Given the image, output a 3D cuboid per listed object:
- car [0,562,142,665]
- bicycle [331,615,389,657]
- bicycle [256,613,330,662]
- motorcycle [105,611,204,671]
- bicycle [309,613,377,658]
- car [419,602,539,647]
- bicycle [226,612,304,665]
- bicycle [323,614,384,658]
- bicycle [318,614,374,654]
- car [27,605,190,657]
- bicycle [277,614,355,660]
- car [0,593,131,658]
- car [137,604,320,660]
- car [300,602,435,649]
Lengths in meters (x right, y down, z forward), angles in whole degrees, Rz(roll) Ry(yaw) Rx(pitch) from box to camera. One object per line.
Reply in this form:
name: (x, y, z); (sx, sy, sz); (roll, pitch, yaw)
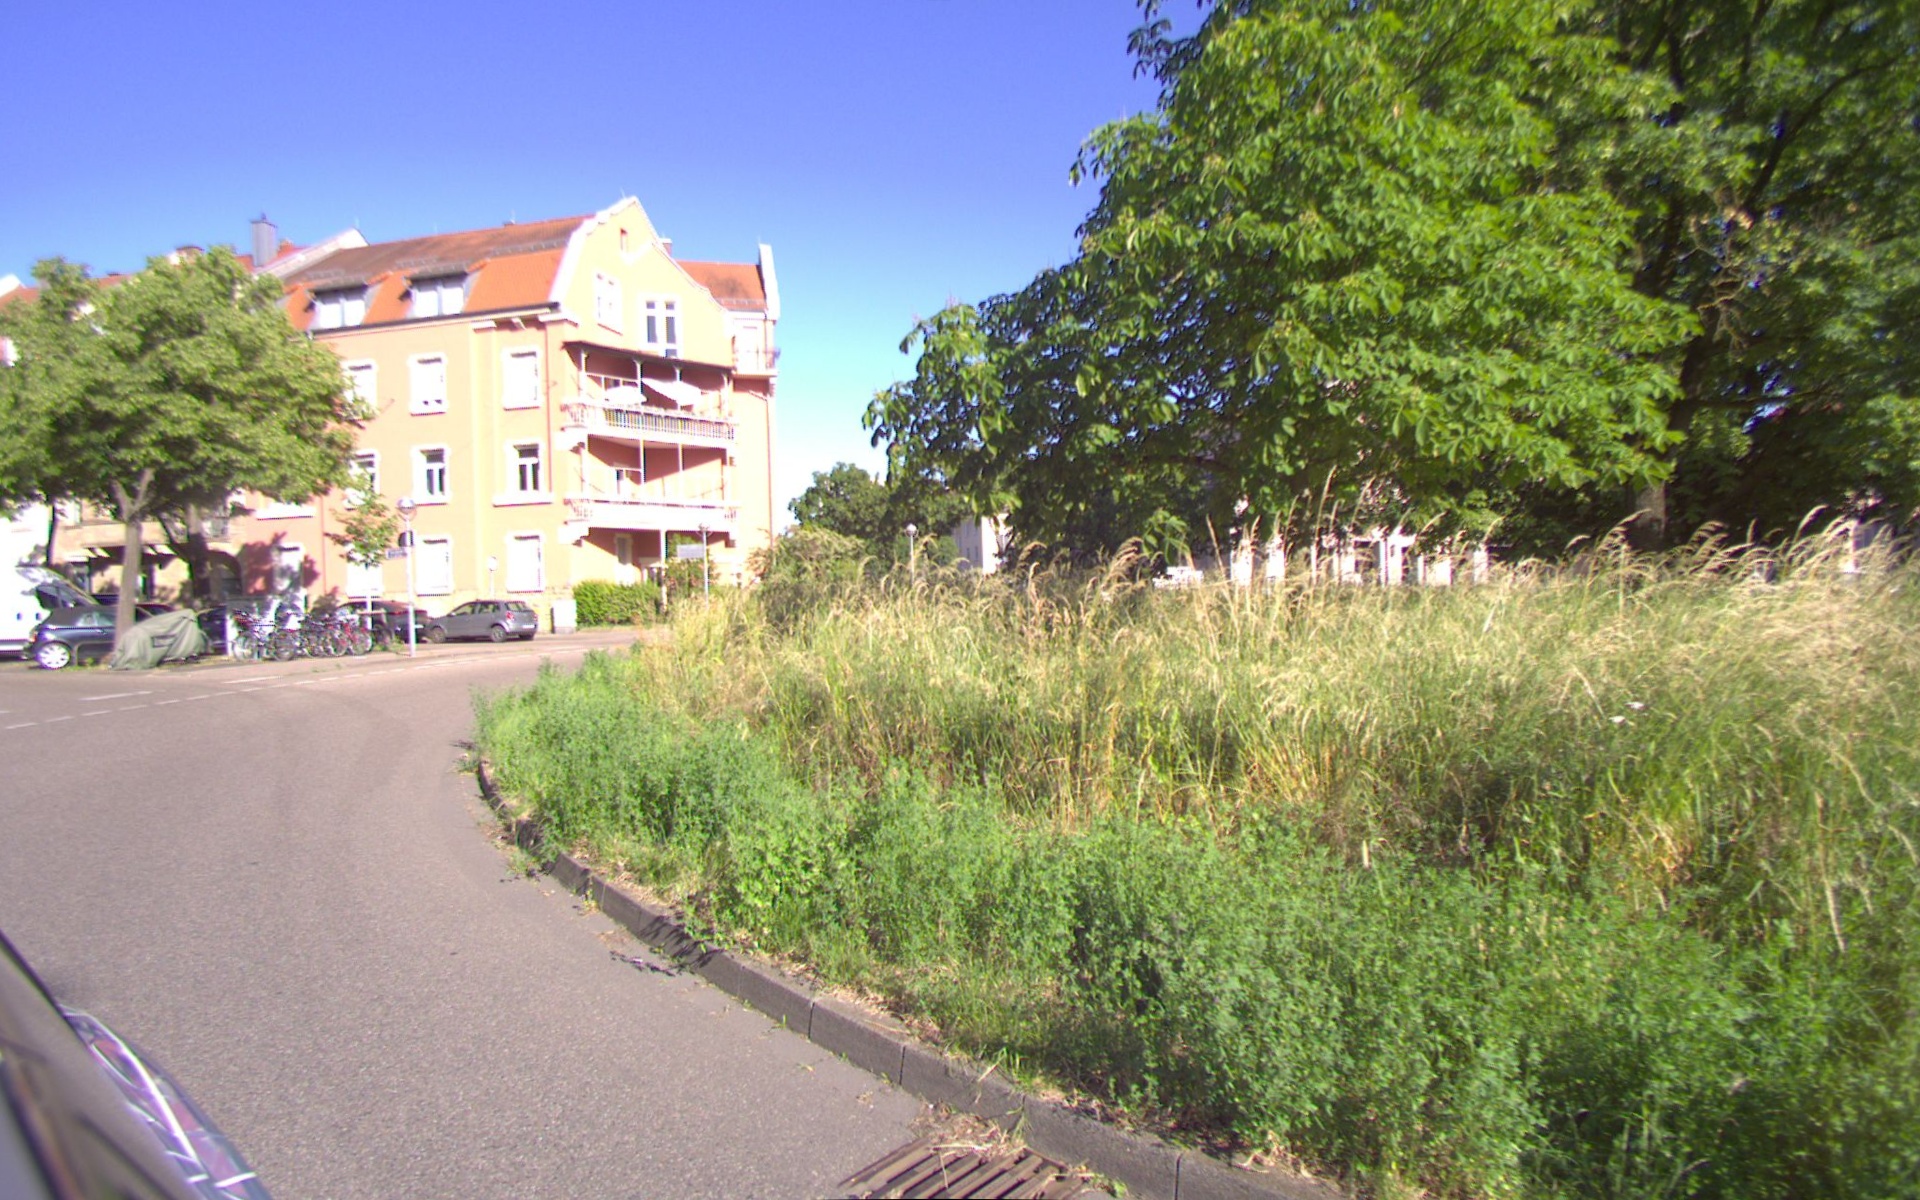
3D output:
car: (-25.513, 0.379, 26.452); (6.271, 2.620, 2.108); (0, -1, -35)
bicycle: (-16.045, 0.951, 27.043); (1.514, 1.094, 0.417); (-1, 1, 18)
bicycle: (-16.227, 0.904, 24.631); (1.587, 1.135, 0.586); (-1, 2, 16)
motorcycle: (-17.796, 0.890, 22.412); (0.534, 1.280, 1.701); (-1, -1, 19)
bicycle: (-15.819, 0.901, 25.932); (1.636, 1.110, 0.497); (-1, 2, 17)
car: (-16.617, 0.848, 35.001); (3.512, 1.457, 1.680); (-1, -1, 14)
bicycle: (-16.389, 0.892, 23.863); (1.664, 1.201, 0.536); (-1, 1, 16)
bicycle: (-15.894, 0.944, 26.521); (1.560, 1.097, 0.417); (-1, 2, 18)
bicycle: (-17.073, 0.941, 28.130); (1.514, 1.094, 0.417); (-1, 1, 18)
car: (-25.301, 0.893, 30.166); (1.680, 1.457, 3.352); (-2, -1, 28)
bicycle: (-16.114, 0.911, 25.337); (1.714, 1.097, 0.654); (0, 2, 16)
car: (-27.583, 0.758, 30.906); (1.688, 1.879, 3.336); (-2, -2, 43)
car: (-20.403, 0.853, 28.340); (1.686, 1.457, 3.871); (-2, -1, 39)
car: (-21.224, 0.915, 36.262); (4.254, 1.574, 1.680); (-2, -1, 14)
